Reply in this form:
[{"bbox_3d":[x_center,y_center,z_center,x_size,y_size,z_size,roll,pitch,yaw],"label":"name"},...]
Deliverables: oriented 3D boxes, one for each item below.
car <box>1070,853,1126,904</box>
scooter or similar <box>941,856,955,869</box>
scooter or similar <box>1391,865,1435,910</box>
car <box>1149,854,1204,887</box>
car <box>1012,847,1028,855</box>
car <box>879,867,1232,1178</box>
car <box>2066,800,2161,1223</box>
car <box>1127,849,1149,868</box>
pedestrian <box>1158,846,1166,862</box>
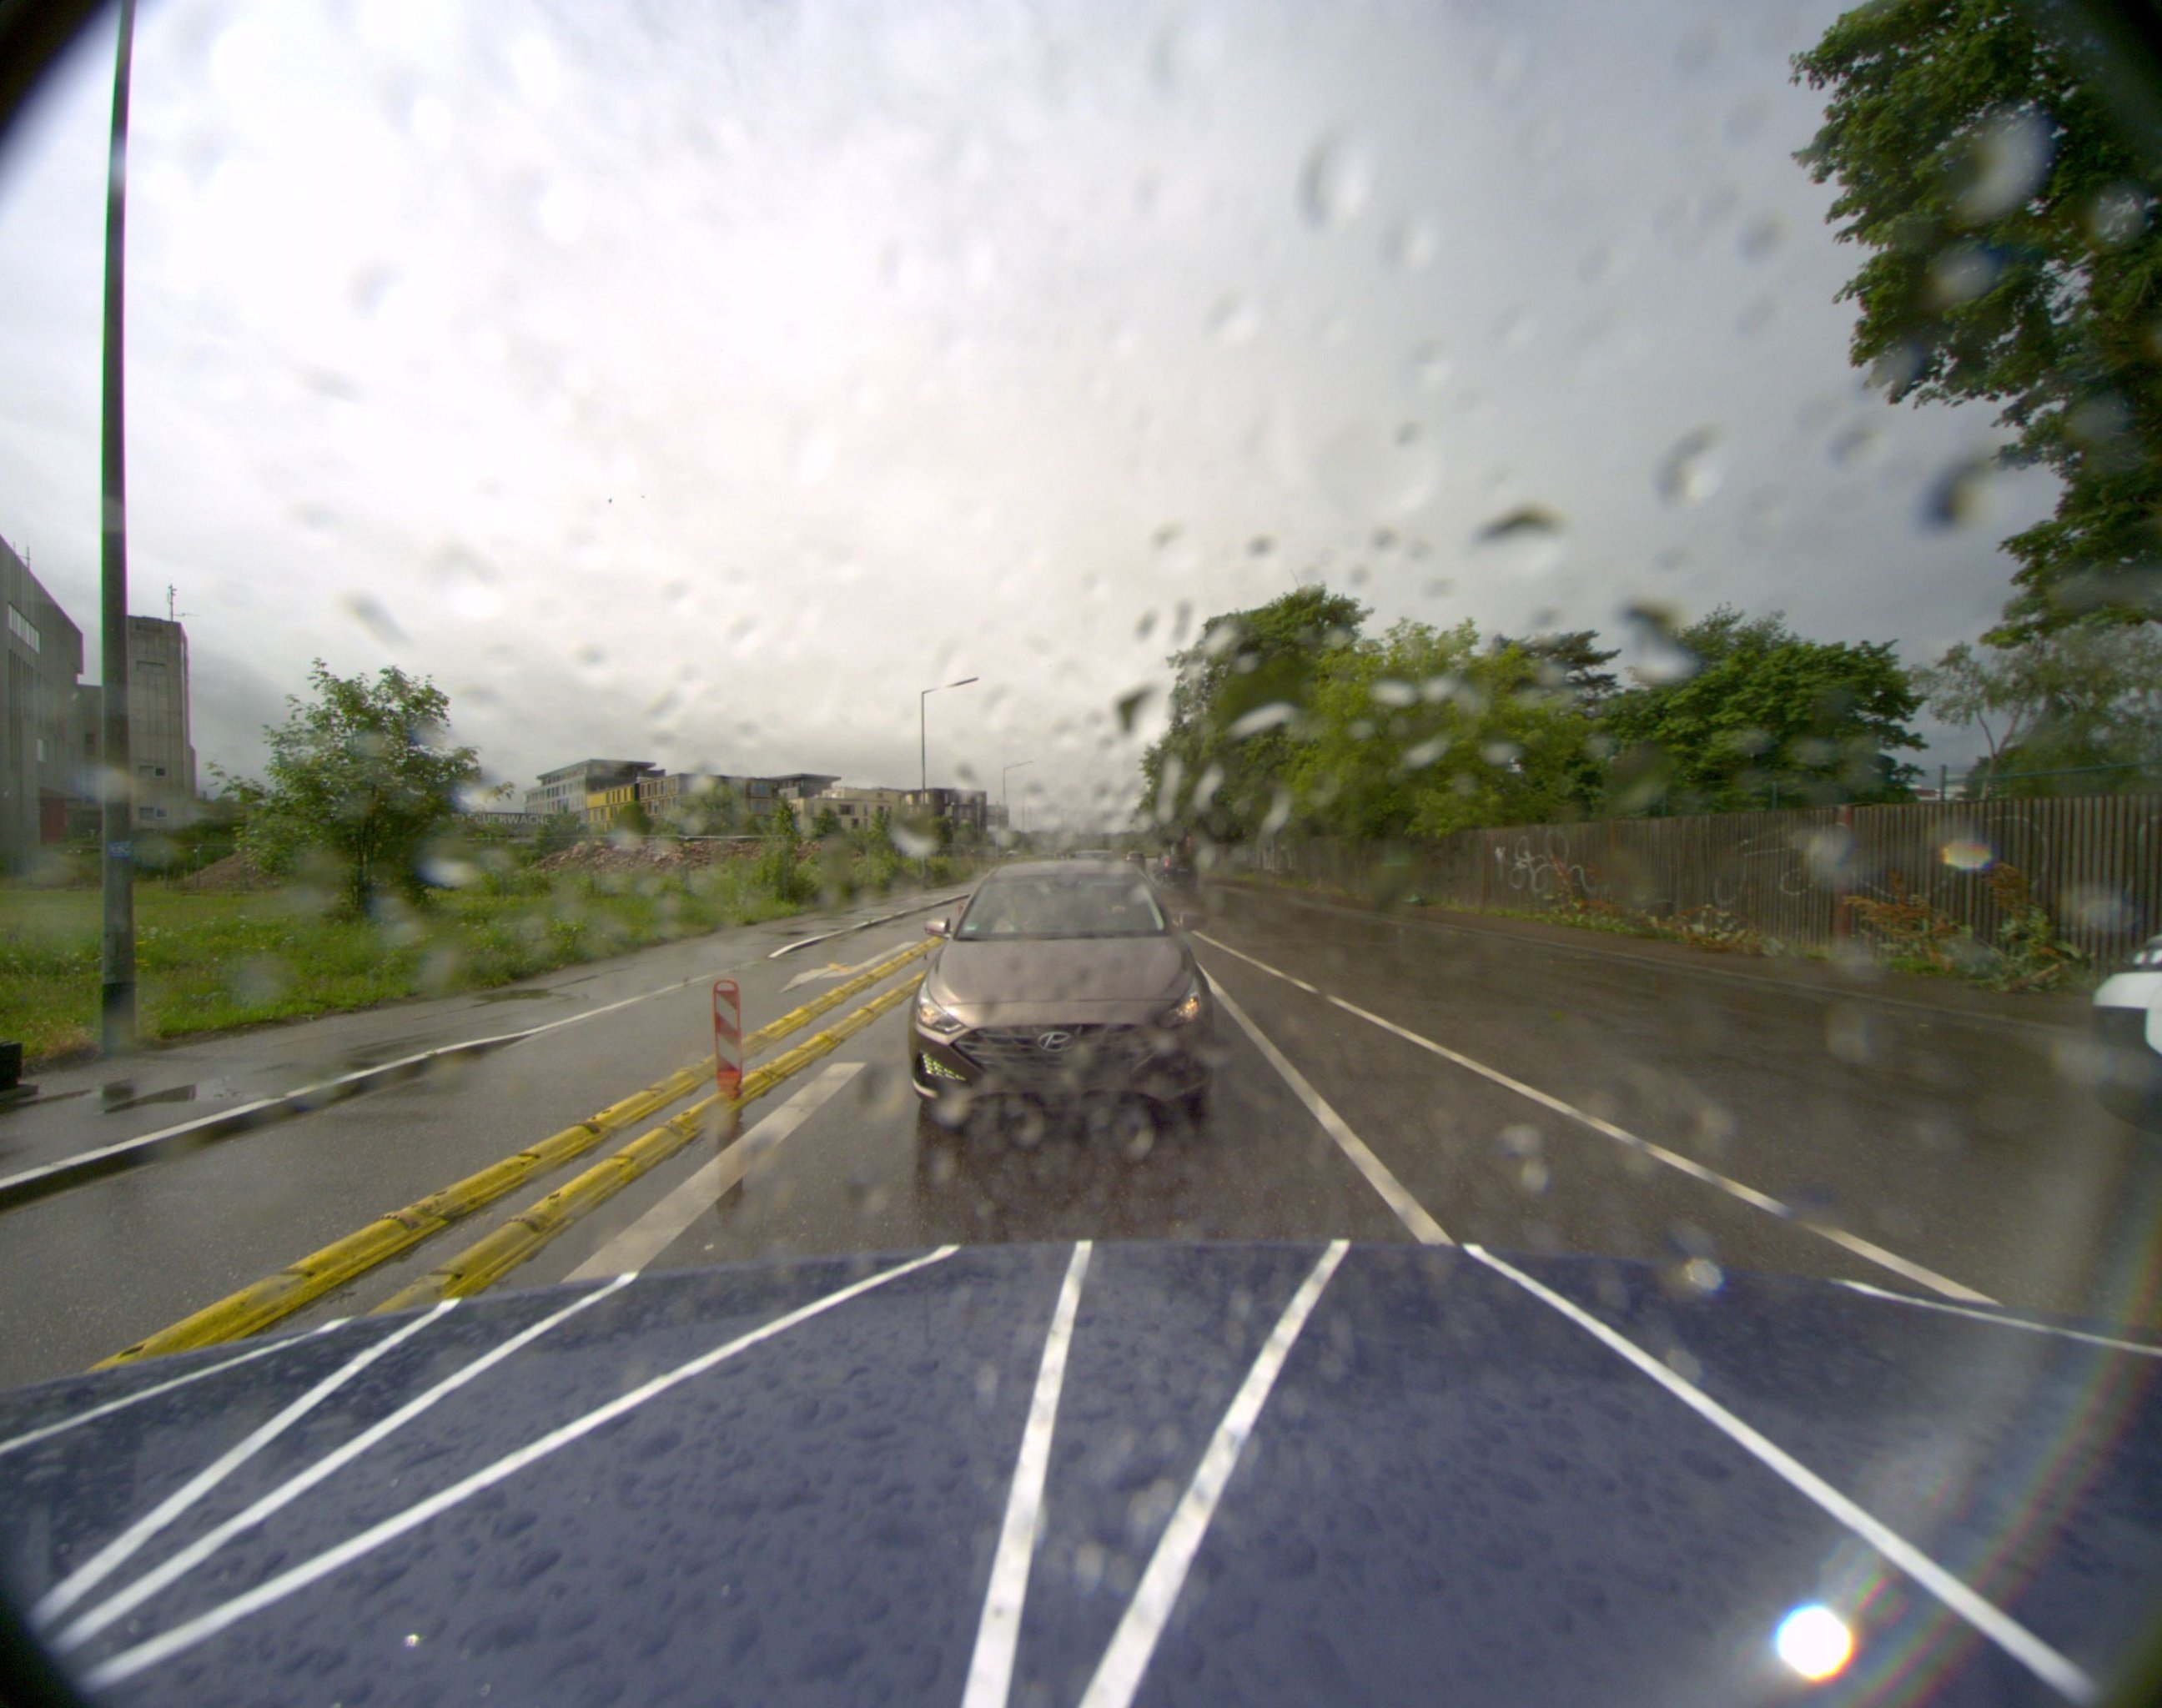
[{"bbox_3d":[0.538,0.770,25.398,1.734,1.539,3.770,-1,0,0],"label":"car"},{"bbox_3d":[-12.011,0.755,68.650,1.191,1.143,0.484,0,1,35],"label":"scooter or similar"},{"bbox_3d":[8.939,0.892,20.501,0.564,1.156,1.207,0,1,-6],"label":"scooter or similar"},{"bbox_3d":[4.579,0.761,37.064,1.880,1.474,4.175,0,1,-4],"label":"car"},{"bbox_3d":[-16.675,-0.897,208.886,4.008,2.002,1.994,-1,1,-42],"label":"car"},{"bbox_3d":[-0.148,0.865,5.661,1.724,1.423,3.817,-1,0,-1],"label":"car"},{"bbox_3d":[5.901,0.723,1.164,1.894,1.865,5.130,1,0,-5],"label":"car"},{"bbox_3d":[4.938,0.384,66.435,1.785,1.543,4.427,2,0,3],"label":"car"},{"bbox_3d":[9.150,0.034,85.478,0.841,1.759,0.644,0,1,1],"label":"pedestrian"}]
